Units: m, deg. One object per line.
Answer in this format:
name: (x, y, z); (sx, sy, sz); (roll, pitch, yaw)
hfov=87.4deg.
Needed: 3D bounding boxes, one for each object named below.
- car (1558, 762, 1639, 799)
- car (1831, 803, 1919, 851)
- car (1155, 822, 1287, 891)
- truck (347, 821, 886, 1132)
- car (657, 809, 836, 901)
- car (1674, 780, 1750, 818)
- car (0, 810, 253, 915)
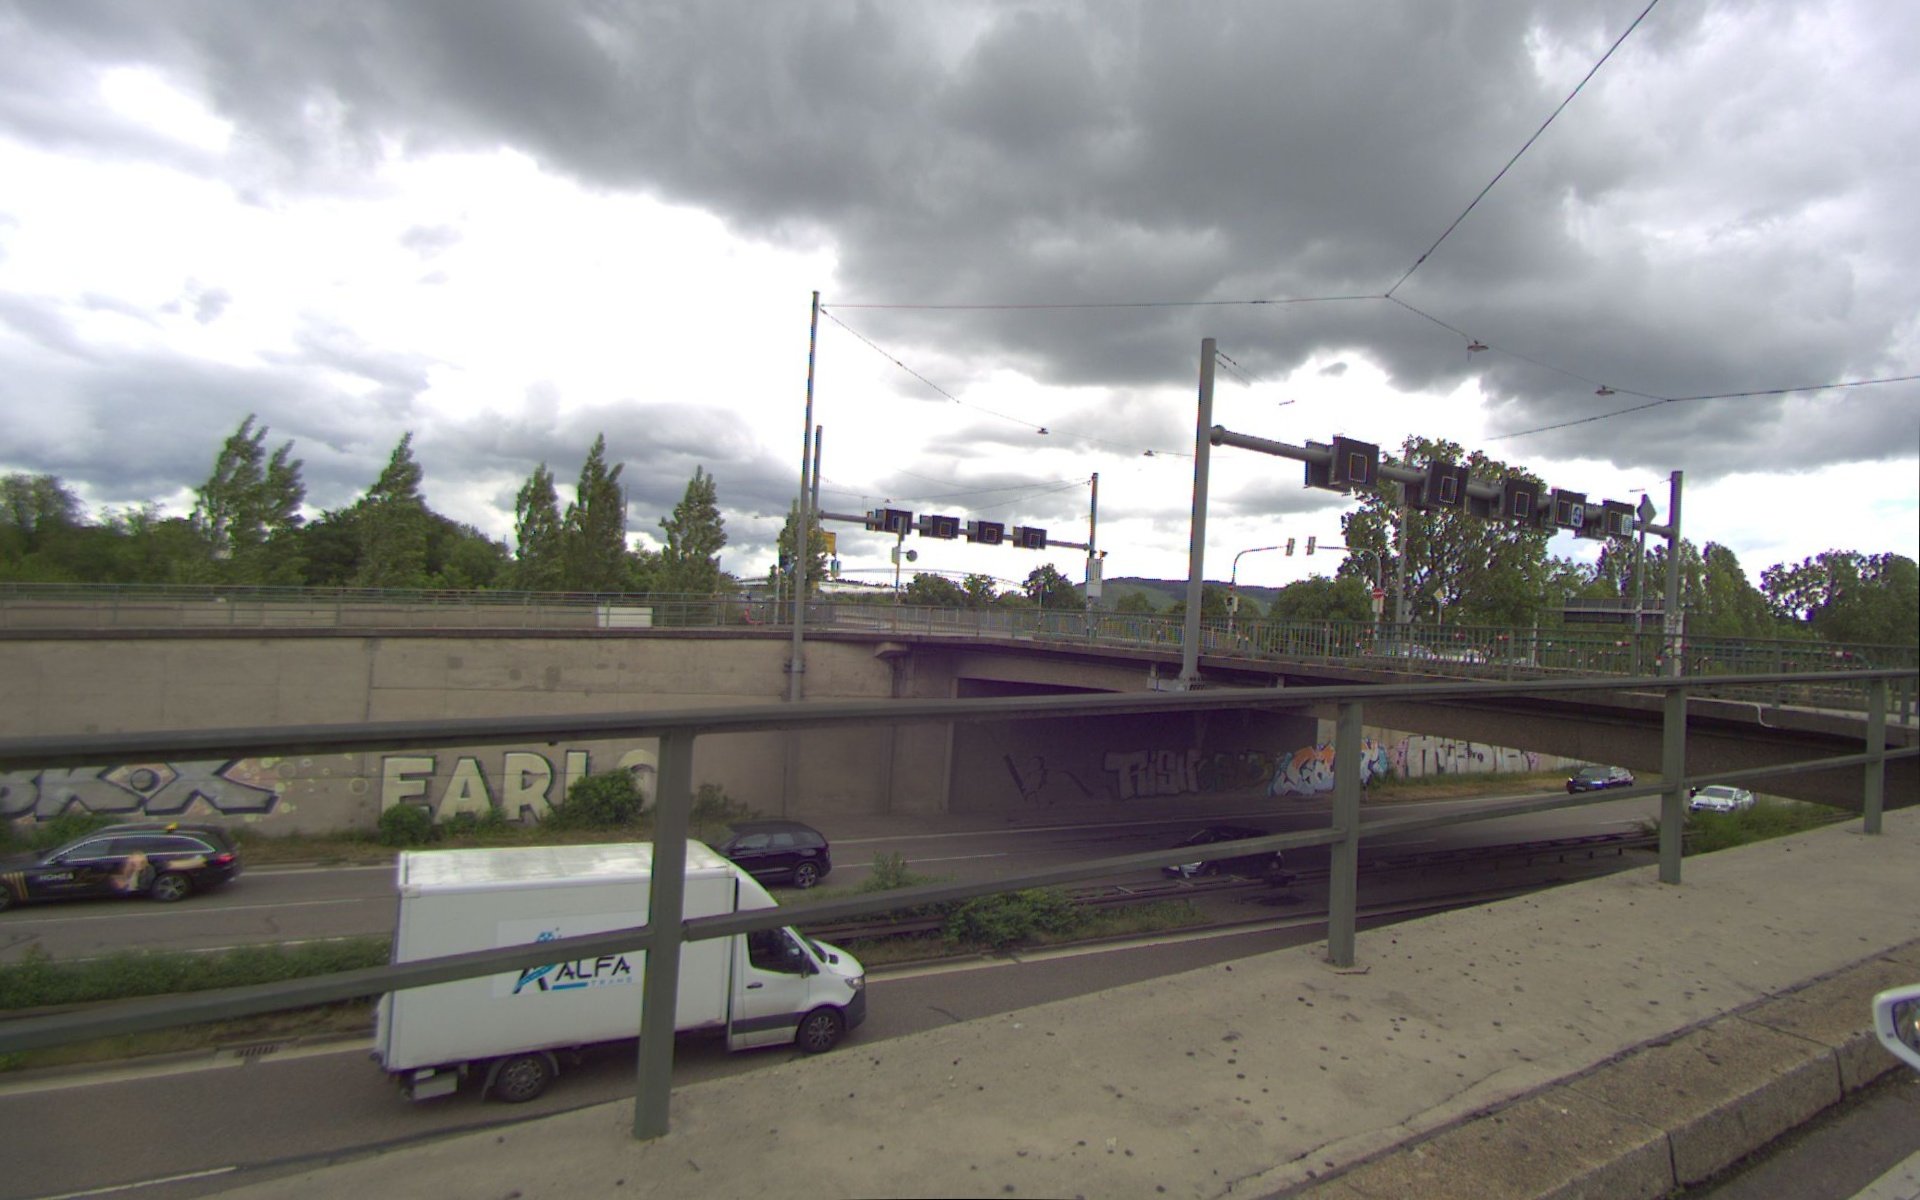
car: (35.377, 9.952, 55.630); (4.526, 1.647, 1.984); (4, -4, -30)
car: (38.876, 9.519, 42.365); (4.372, 1.484, 1.850); (5, -2, -29)
car: (7.705, 7.506, 29.640); (3.610, 1.472, 1.706); (5, -3, -31)
truck: (-4.871, 5.215, 15.088); (7.148, 3.048, 2.223); (4, -2, -30)
car: (-5.550, 6.563, 26.193); (4.134, 1.741, 1.873); (5, -3, -30)
car: (37.469, 9.873, 50.023); (3.856, 1.513, 1.765); (4, -5, -32)
car: (-18.589, 5.725, 22.186); (4.581, 1.673, 1.851); (5, -3, -30)
